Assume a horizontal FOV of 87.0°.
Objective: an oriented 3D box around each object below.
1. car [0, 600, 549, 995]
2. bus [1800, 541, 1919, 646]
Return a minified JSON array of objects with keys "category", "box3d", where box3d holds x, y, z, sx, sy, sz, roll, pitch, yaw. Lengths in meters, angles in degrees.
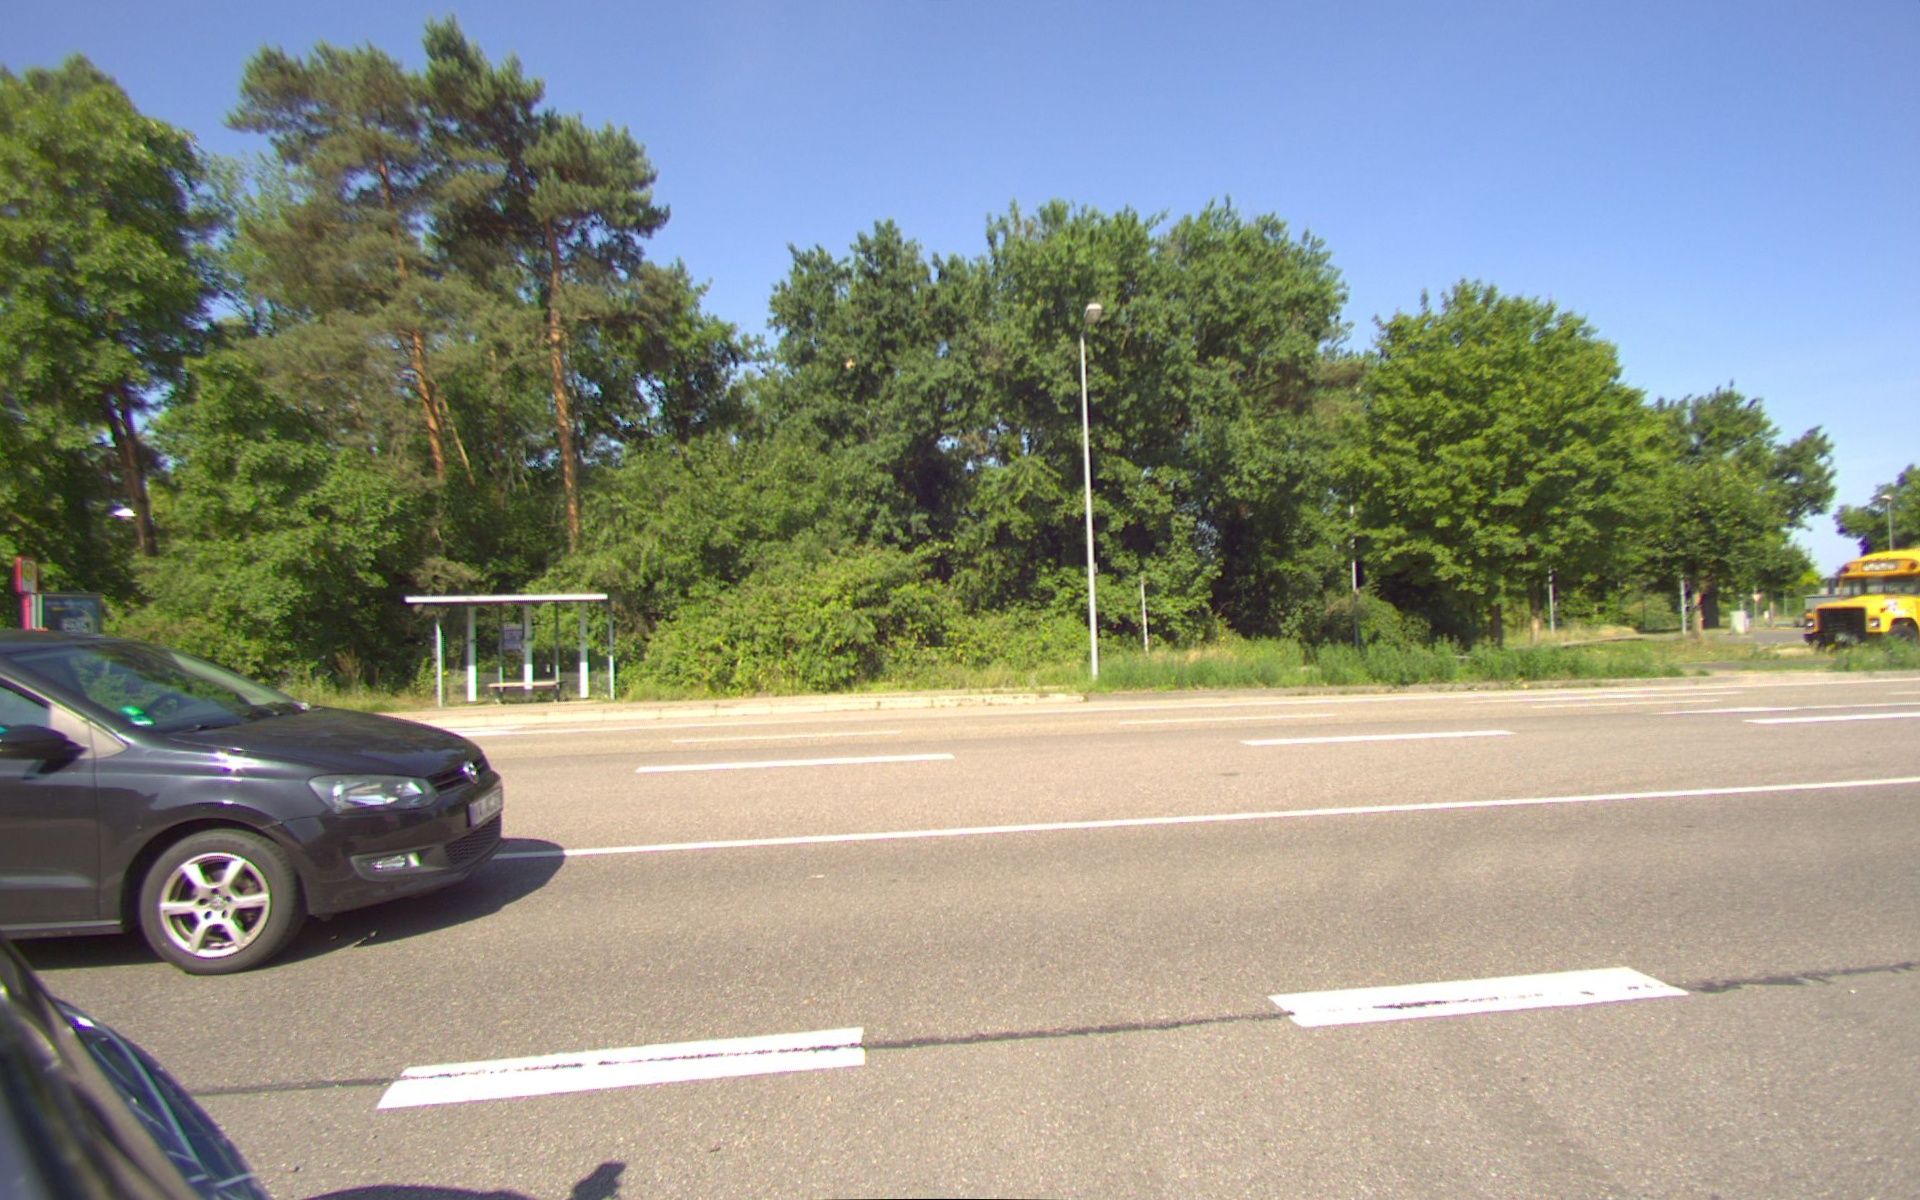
[{"category":"car","box3d":[-4.114,0.782,4.562,3.986,1.441,1.656,-2,1,-15]},{"category":"bus","box3d":[28.501,-0.226,28.262,8.850,2.699,2.593,-1,0,-10]}]
